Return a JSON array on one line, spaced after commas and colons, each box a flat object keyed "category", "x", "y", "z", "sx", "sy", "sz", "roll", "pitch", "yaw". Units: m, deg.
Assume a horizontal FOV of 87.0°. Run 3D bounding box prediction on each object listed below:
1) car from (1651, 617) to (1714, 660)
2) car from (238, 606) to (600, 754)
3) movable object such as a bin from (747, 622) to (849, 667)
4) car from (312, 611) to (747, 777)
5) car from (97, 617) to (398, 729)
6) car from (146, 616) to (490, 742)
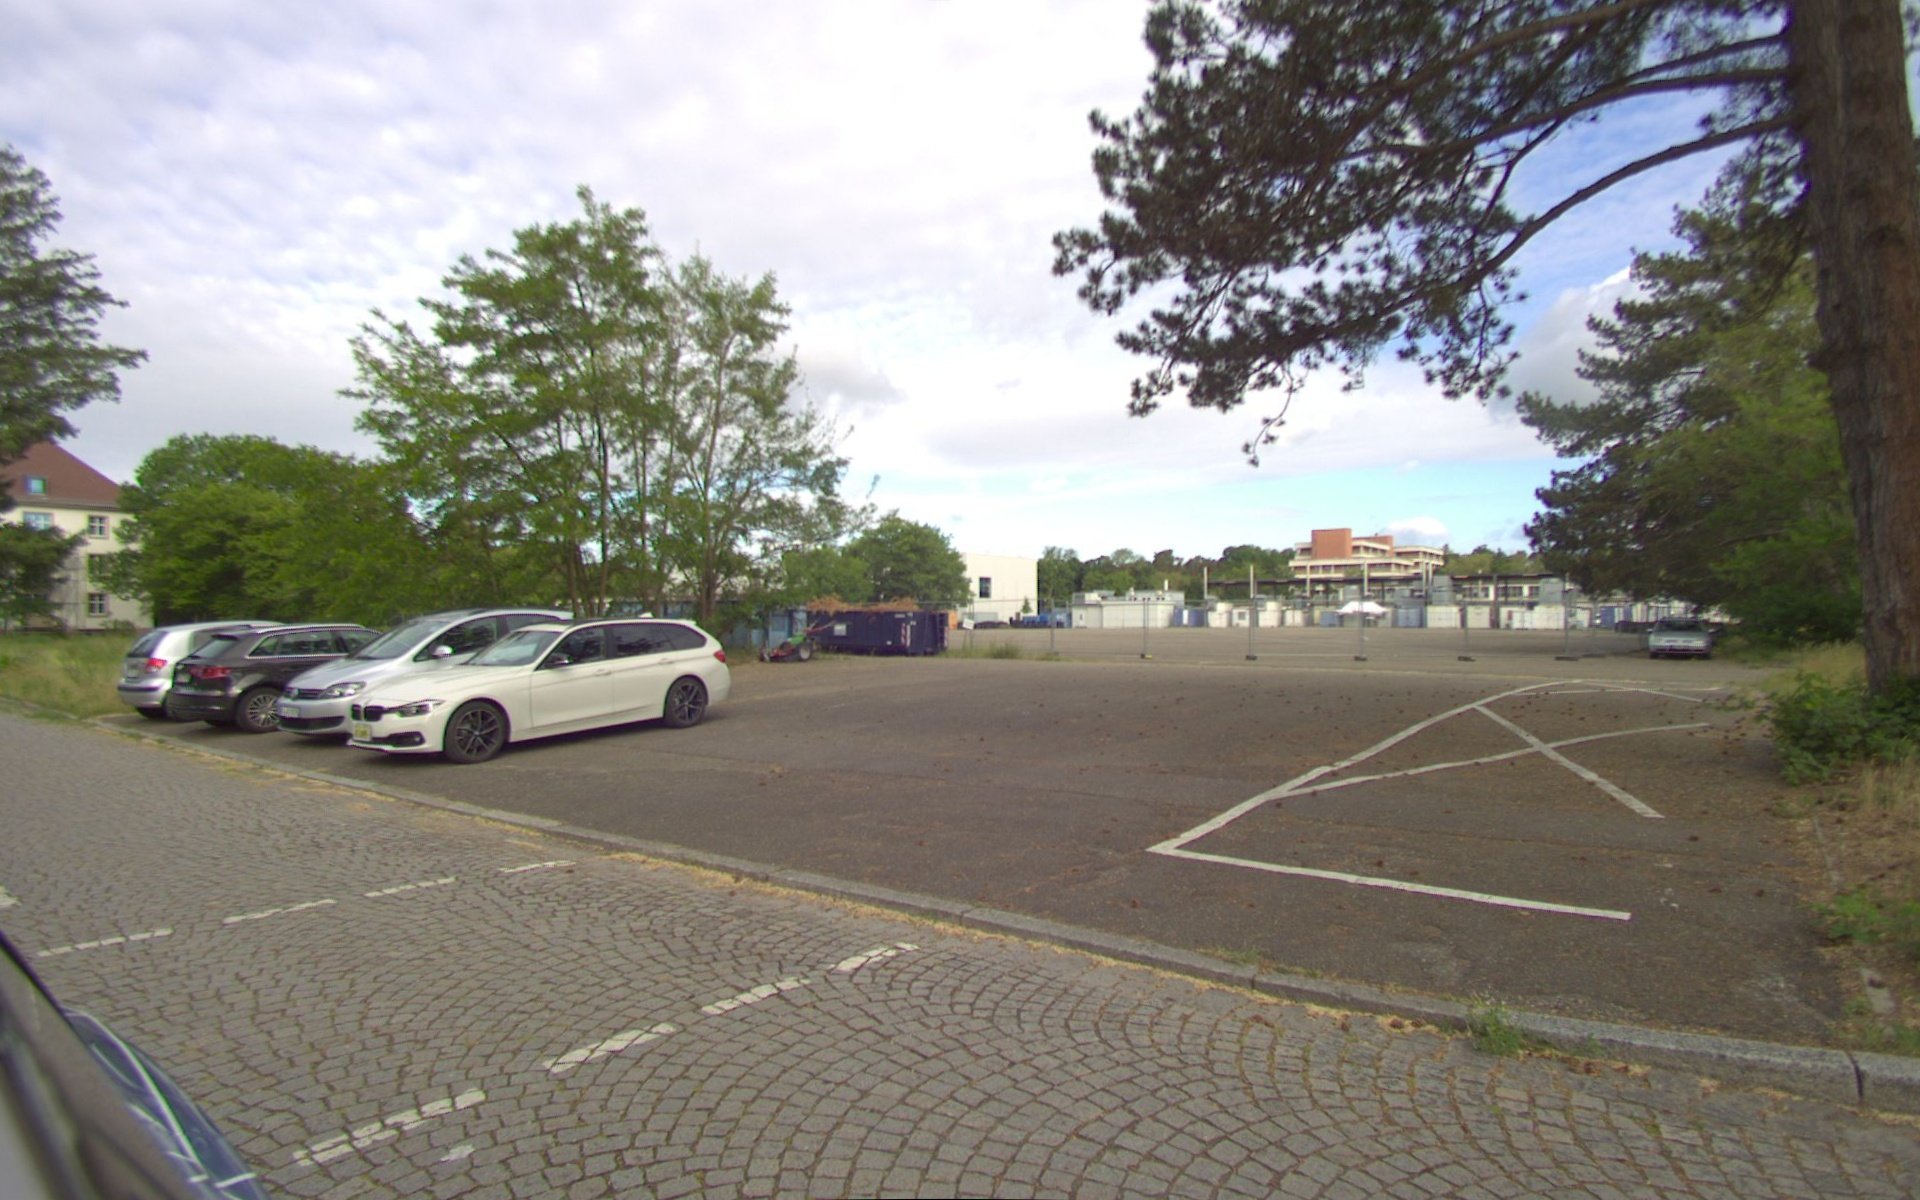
[{"category": "car", "x": 25.224, "y": 1.306, "z": 35.325, "sx": 1.694, "sy": 1.403, "sz": 3.951, "roll": -1, "pitch": -1, "yaw": 36}, {"category": "car", "x": -7.090, "y": 0.934, "z": 13.658, "sx": 1.719, "sy": 1.559, "sz": 3.955, "roll": -1, "pitch": 1, "yaw": 33}, {"category": "movable object such as a bin", "x": -4.435, "y": 1.196, "z": 27.778, "sx": 1.500, "sy": 1.170, "sz": 2.365, "roll": -1, "pitch": -2, "yaw": 43}, {"category": "car", "x": -4.923, "y": 0.953, "z": 12.287, "sx": 1.797, "sy": 1.454, "sz": 4.609, "roll": -1, "pitch": 1, "yaw": 34}, {"category": "car", "x": -11.610, "y": 1.097, "z": 16.707, "sx": 1.803, "sy": 1.463, "sz": 3.648, "roll": -1, "pitch": 1, "yaw": 33}, {"category": "car", "x": -9.390, "y": 1.056, "z": 15.089, "sx": 1.748, "sy": 1.438, "sz": 3.951, "roll": -1, "pitch": 1, "yaw": 37}]
